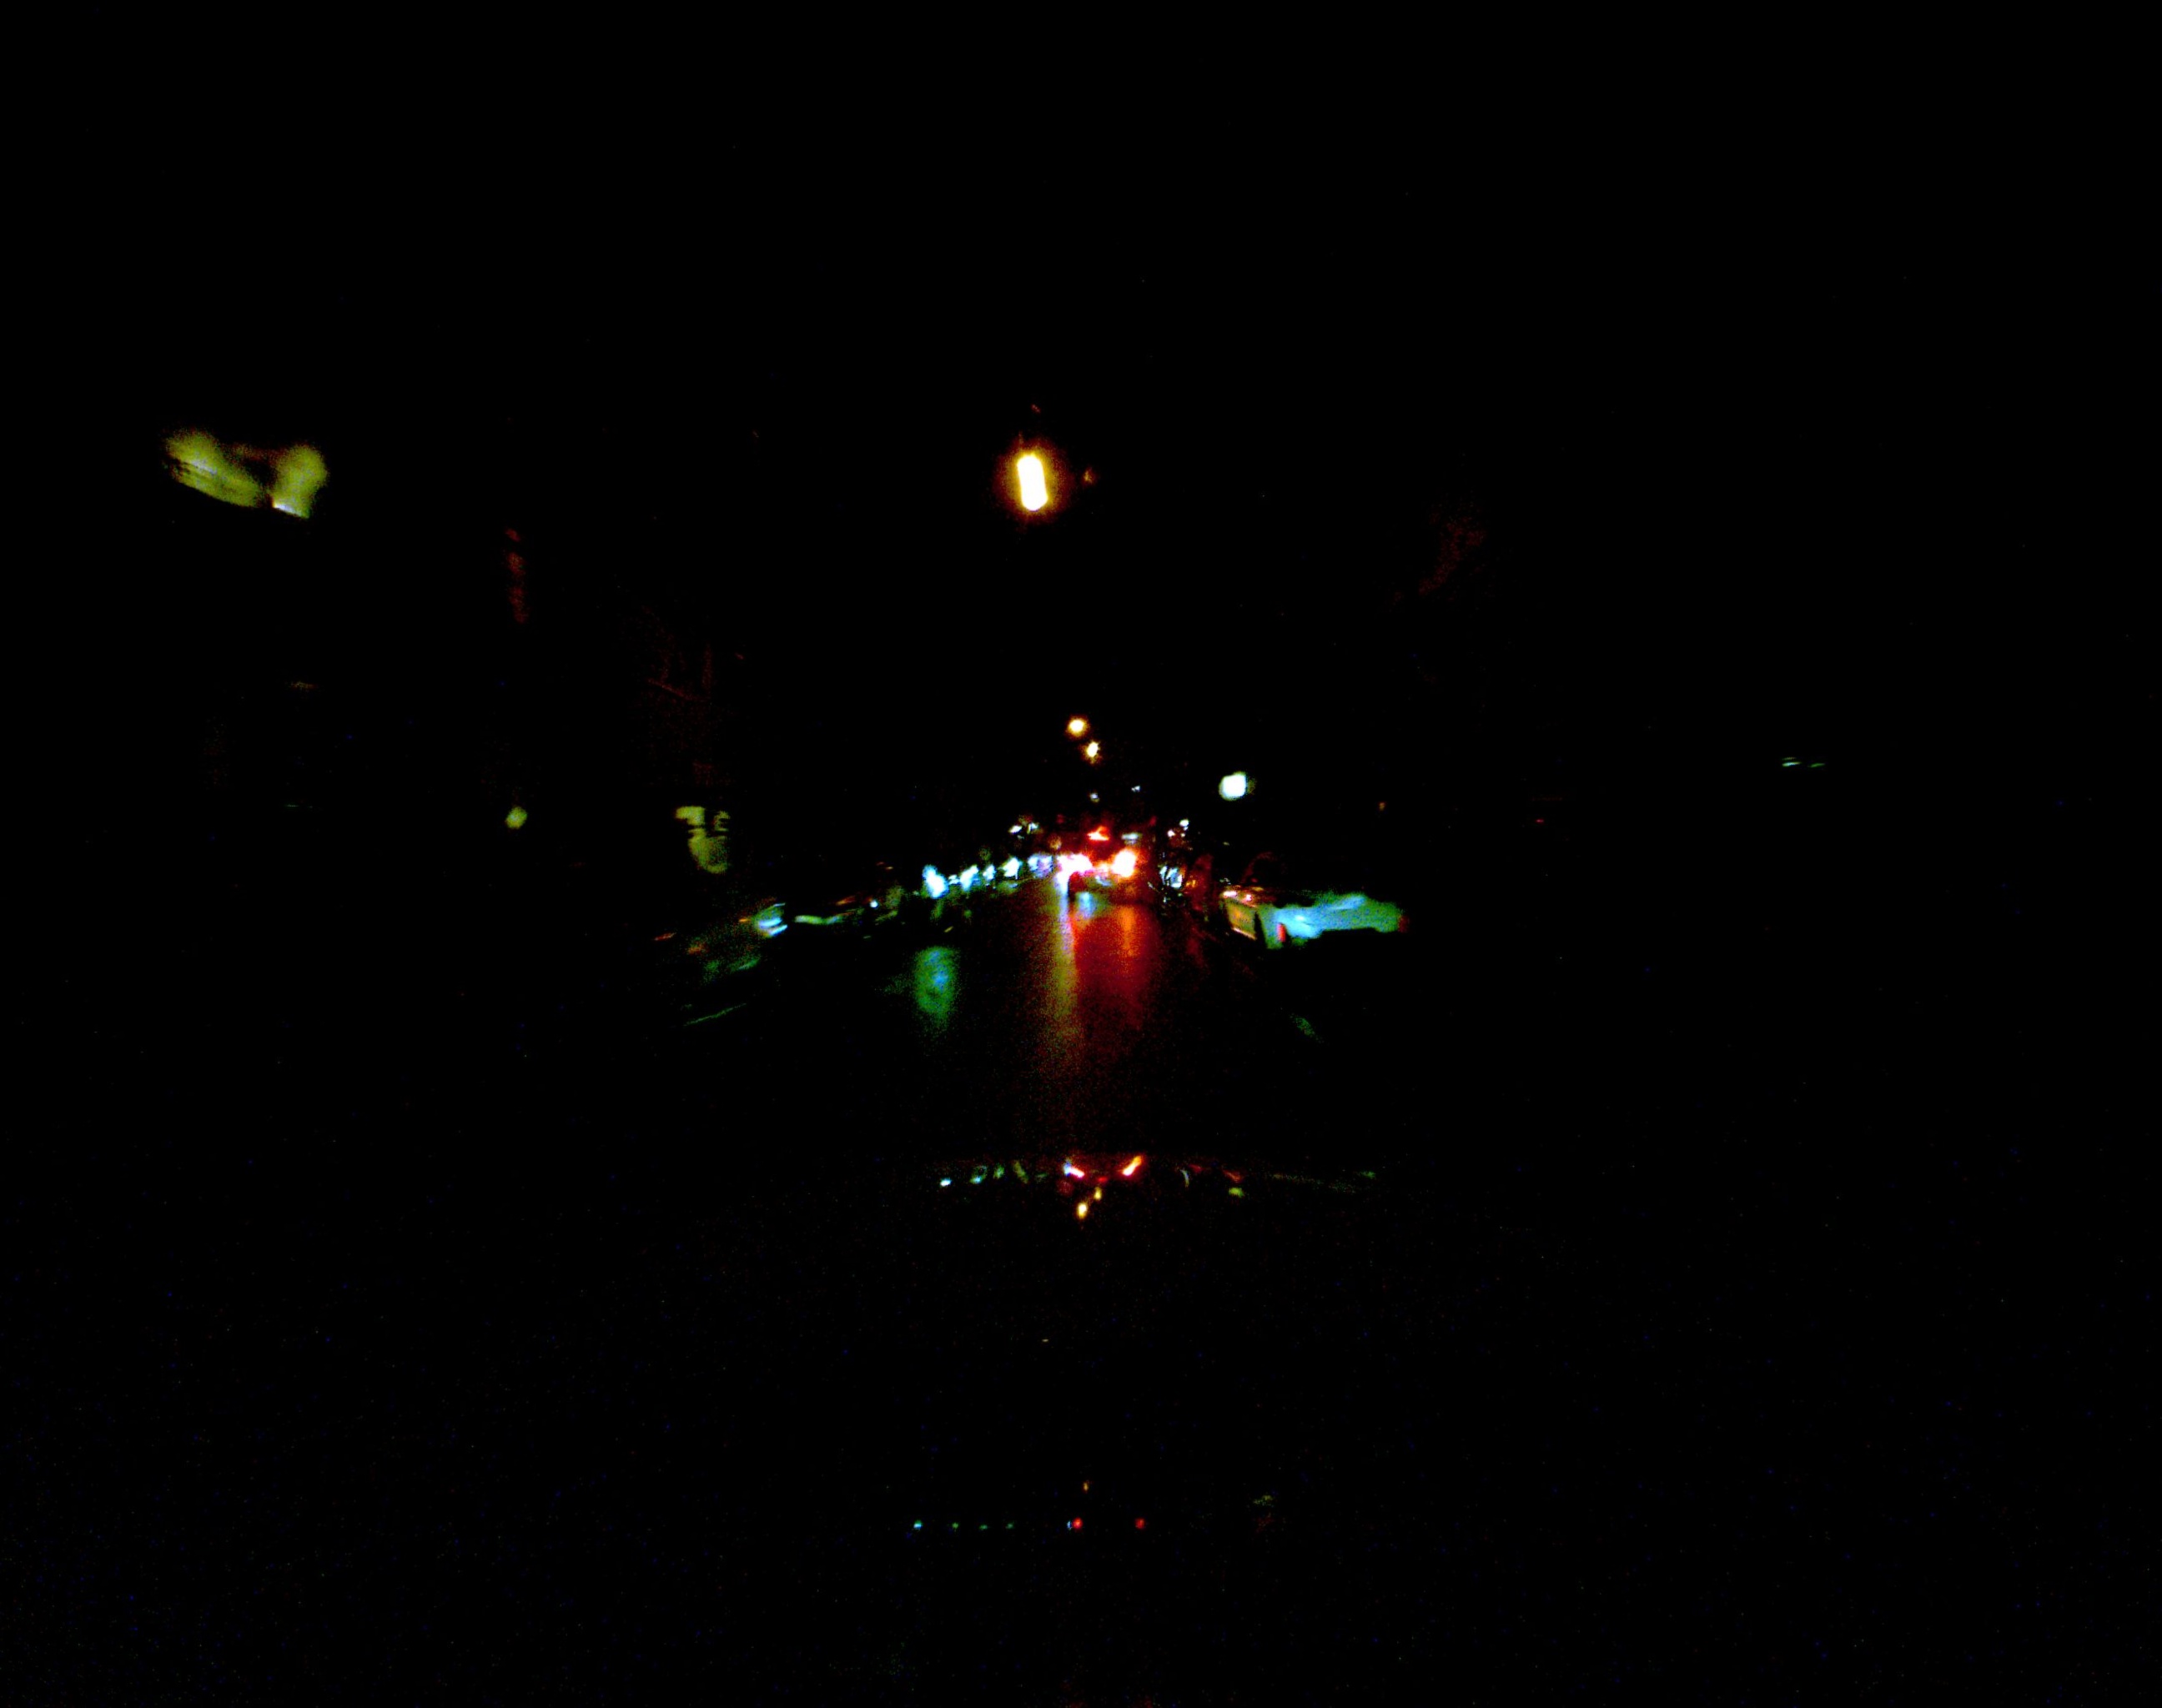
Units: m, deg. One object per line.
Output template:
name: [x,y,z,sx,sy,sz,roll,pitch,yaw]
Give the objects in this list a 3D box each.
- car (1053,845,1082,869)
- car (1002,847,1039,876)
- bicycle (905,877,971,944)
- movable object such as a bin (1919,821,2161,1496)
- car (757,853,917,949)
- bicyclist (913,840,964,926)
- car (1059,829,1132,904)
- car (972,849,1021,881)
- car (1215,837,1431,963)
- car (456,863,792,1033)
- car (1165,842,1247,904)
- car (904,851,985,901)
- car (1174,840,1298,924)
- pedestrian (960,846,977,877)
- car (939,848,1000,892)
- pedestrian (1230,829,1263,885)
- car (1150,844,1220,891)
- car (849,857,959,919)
car: [-0.986,0.176,60.798,1.914,1.618,4.575,-4,1,0]
car: [-3.839,0.464,52.038,1.826,1.717,4.596,-2,0,2]
bicycle: [-2.684,1.029,15.568,0.724,1.072,2.349,-3,0,2]
movable object such as a bin: [2.978,0.628,1.904,1.347,1.429,1.188,-2,0,-35]
car: [-4.659,0.815,16.204,1.768,1.572,4.136,-2,0,2]
bicyclist: [-2.697,0.532,15.494,0.716,1.556,0.895,-3,0,1]
car: [0.499,0.317,25.243,1.988,2.049,4.697,-2,0,2]
car: [-4.232,0.508,41.366,1.826,1.486,4.596,-2,0,2]
car: [3.329,0.552,12.185,1.986,1.464,4.418,-2,0,2]
car: [-4.892,0.888,9.400,1.666,1.491,3.723,-1,0,2]
car: [3.336,0.456,22.354,1.683,1.498,3.892,-2,0,1]
car: [-4.515,0.681,27.514,1.826,1.481,4.308,-2,0,2]
car: [3.112,0.506,17.097,1.685,1.498,3.888,-2,0,-2]
pedestrian: [-6.482,0.433,46.989,0.739,1.804,0.988,0,0,5]
car: [-4.330,0.595,32.120,1.738,1.588,3.767,-2,0,2]
pedestrian: [5.464,0.083,26.995,0.858,1.788,1.084,-4,1,5]
car: [3.455,0.422,27.737,1.911,1.412,4.001,-2,0,1]
car: [-4.589,0.834,21.818,1.815,1.389,4.427,-2,0,2]
